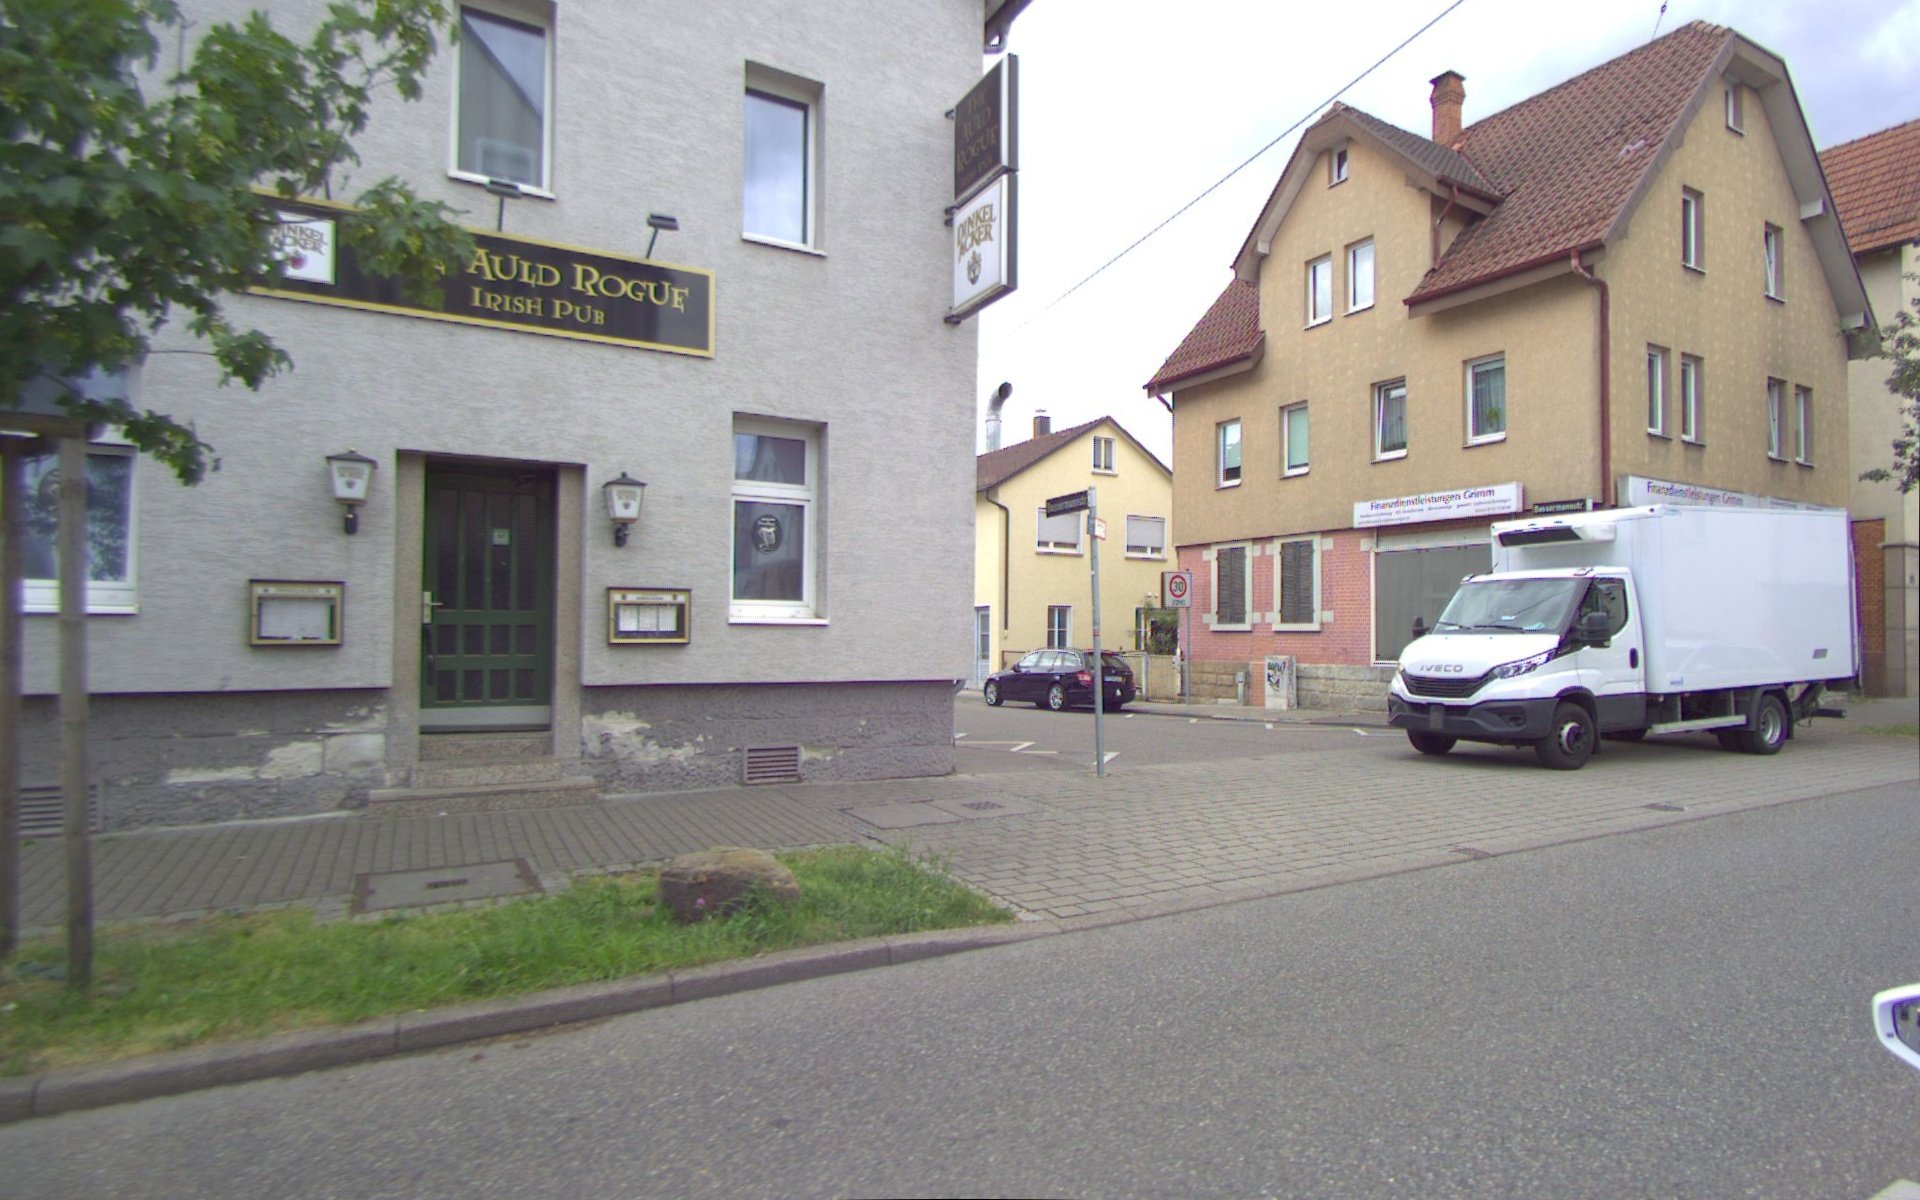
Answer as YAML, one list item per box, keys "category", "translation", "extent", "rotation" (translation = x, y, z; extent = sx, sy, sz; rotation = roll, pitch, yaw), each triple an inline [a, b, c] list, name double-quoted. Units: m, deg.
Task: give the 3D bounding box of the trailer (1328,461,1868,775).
- category: "trailer"
  translation: [8.380, 0.273, 13.052]
  extent: [7.037, 3.262, 2.496]
  rotation: [1, -1, -25]

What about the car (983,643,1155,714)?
- category: "car"
  translation: [2.489, 1.861, 23.933]
  extent: [1.957, 1.467, 4.179]
  rotation: [6, -6, -30]
